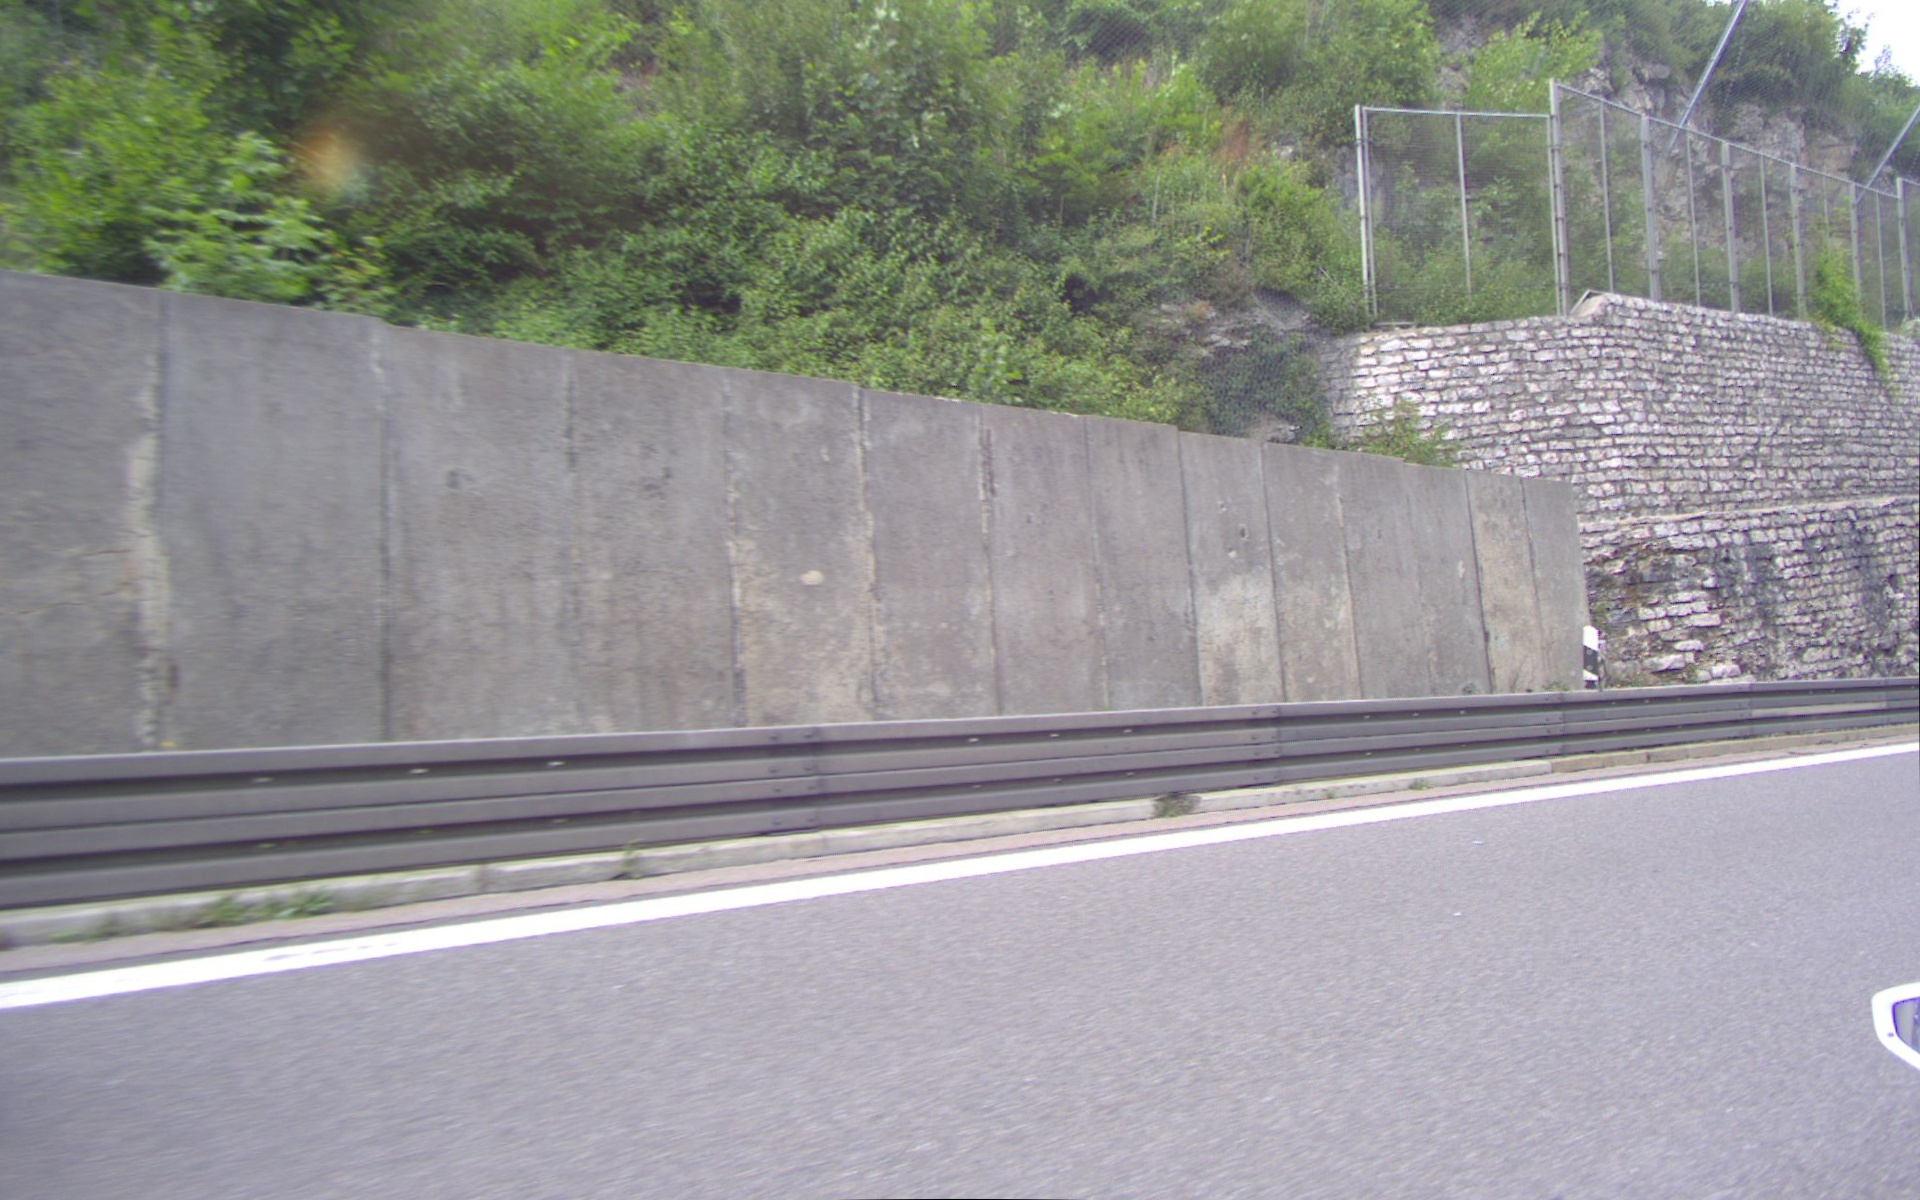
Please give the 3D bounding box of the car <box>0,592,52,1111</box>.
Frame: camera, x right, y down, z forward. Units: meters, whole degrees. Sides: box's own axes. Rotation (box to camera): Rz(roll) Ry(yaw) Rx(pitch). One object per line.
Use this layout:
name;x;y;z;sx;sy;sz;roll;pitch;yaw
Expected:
car;-4.452;0.677;1.309;4.527;1.480;1.765;1;0;-30
